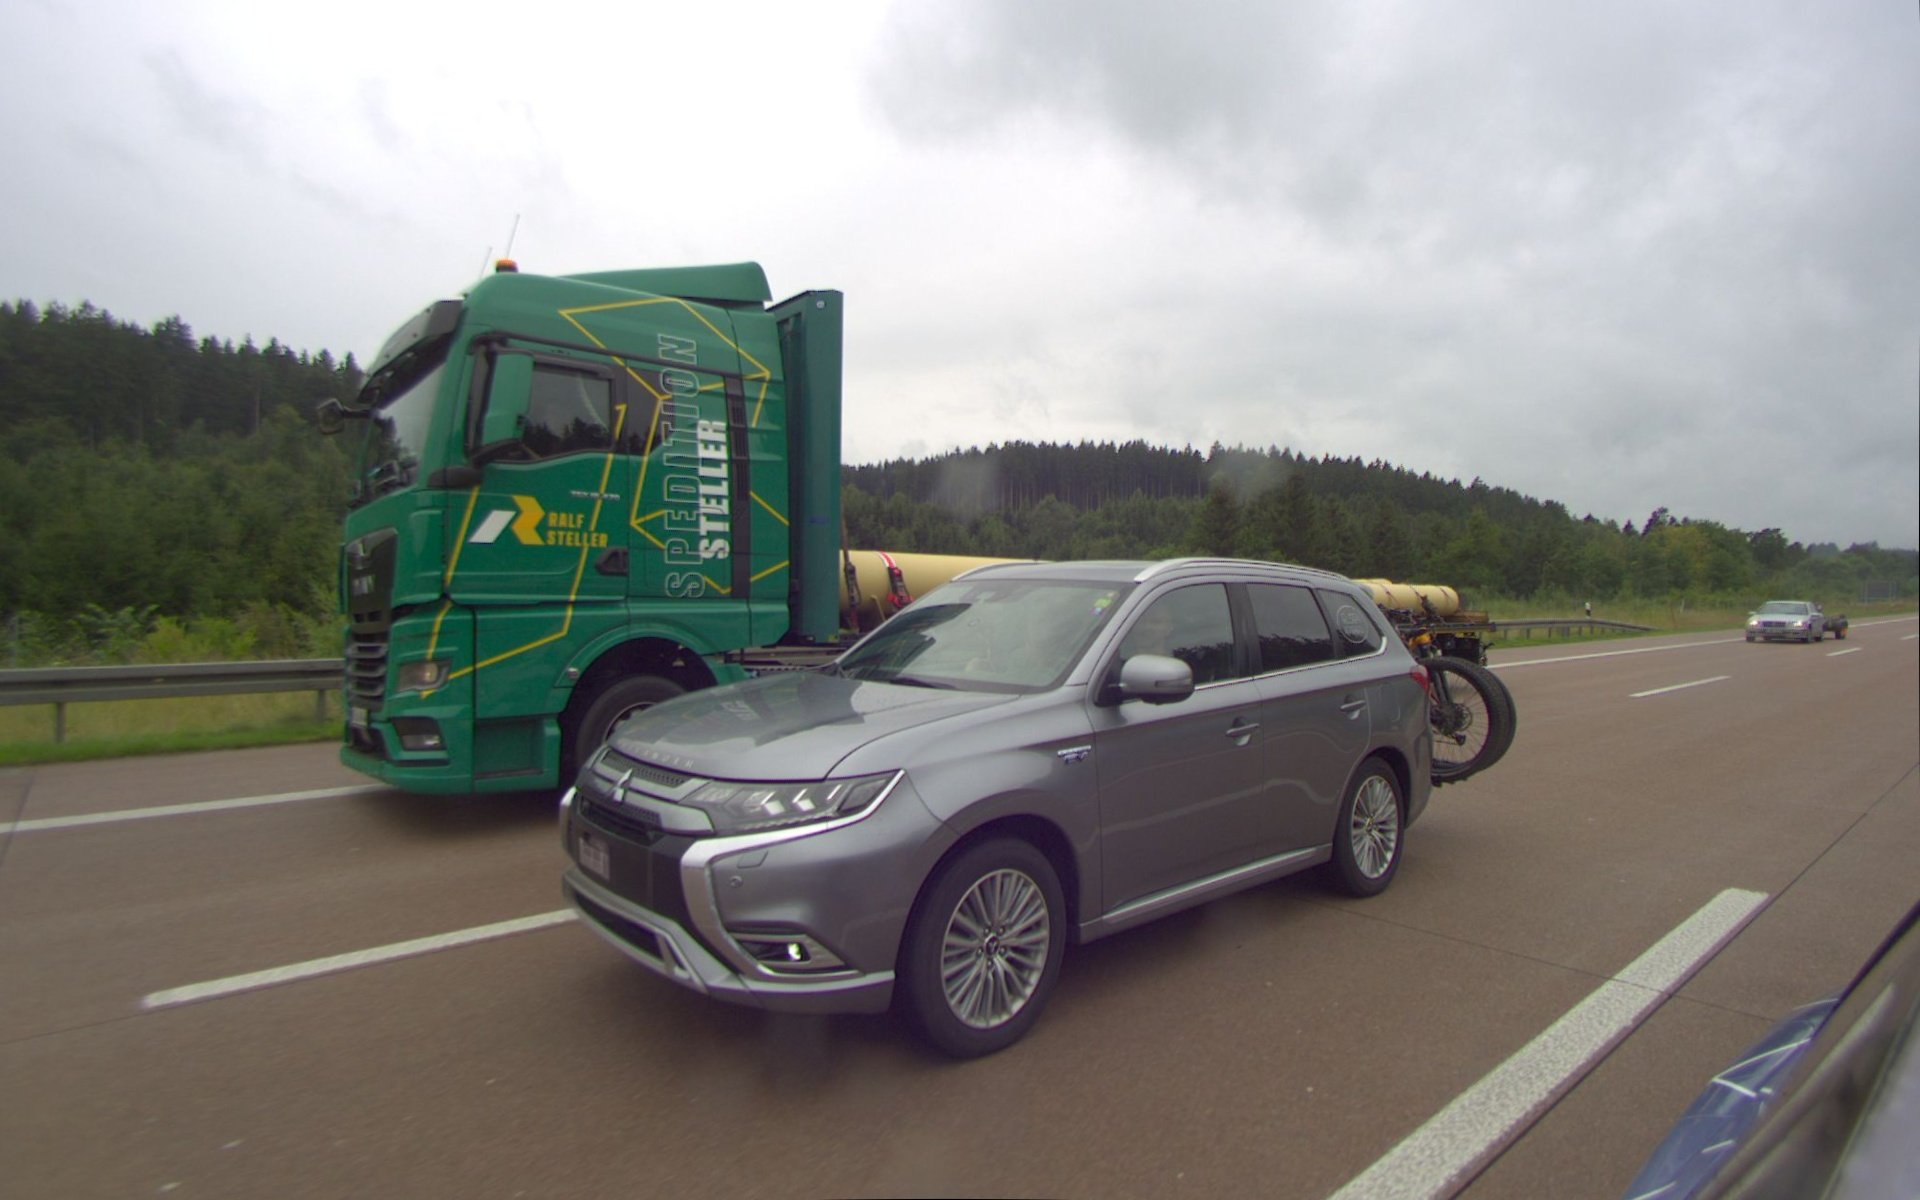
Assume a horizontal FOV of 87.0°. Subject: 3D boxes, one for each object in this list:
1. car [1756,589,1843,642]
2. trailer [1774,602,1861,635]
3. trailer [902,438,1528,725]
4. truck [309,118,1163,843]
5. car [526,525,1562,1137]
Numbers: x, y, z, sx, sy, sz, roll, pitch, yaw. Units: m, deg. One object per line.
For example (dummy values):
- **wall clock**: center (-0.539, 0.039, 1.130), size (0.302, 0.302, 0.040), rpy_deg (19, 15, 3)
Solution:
- **car**: center (29.381, 0.492, 35.371), size (4.893, 1.631, 1.700), rpy_deg (-2, 2, -43)
- **trailer**: center (32.690, 0.664, 38.552), size (4.559, 1.181, 1.974), rpy_deg (0, 0, -42)
- **trailer**: center (4.451, -0.313, 14.385), size (11.204, 2.709, 2.885), rpy_deg (-2, 1, -42)
- **truck**: center (-1.472, -0.747, 9.014), size (6.870, 4.014, 2.901), rpy_deg (-2, 1, -42)
- **car**: center (1.014, 0.535, 5.307), size (5.719, 1.612, 1.997), rpy_deg (-2, 1, -41)
